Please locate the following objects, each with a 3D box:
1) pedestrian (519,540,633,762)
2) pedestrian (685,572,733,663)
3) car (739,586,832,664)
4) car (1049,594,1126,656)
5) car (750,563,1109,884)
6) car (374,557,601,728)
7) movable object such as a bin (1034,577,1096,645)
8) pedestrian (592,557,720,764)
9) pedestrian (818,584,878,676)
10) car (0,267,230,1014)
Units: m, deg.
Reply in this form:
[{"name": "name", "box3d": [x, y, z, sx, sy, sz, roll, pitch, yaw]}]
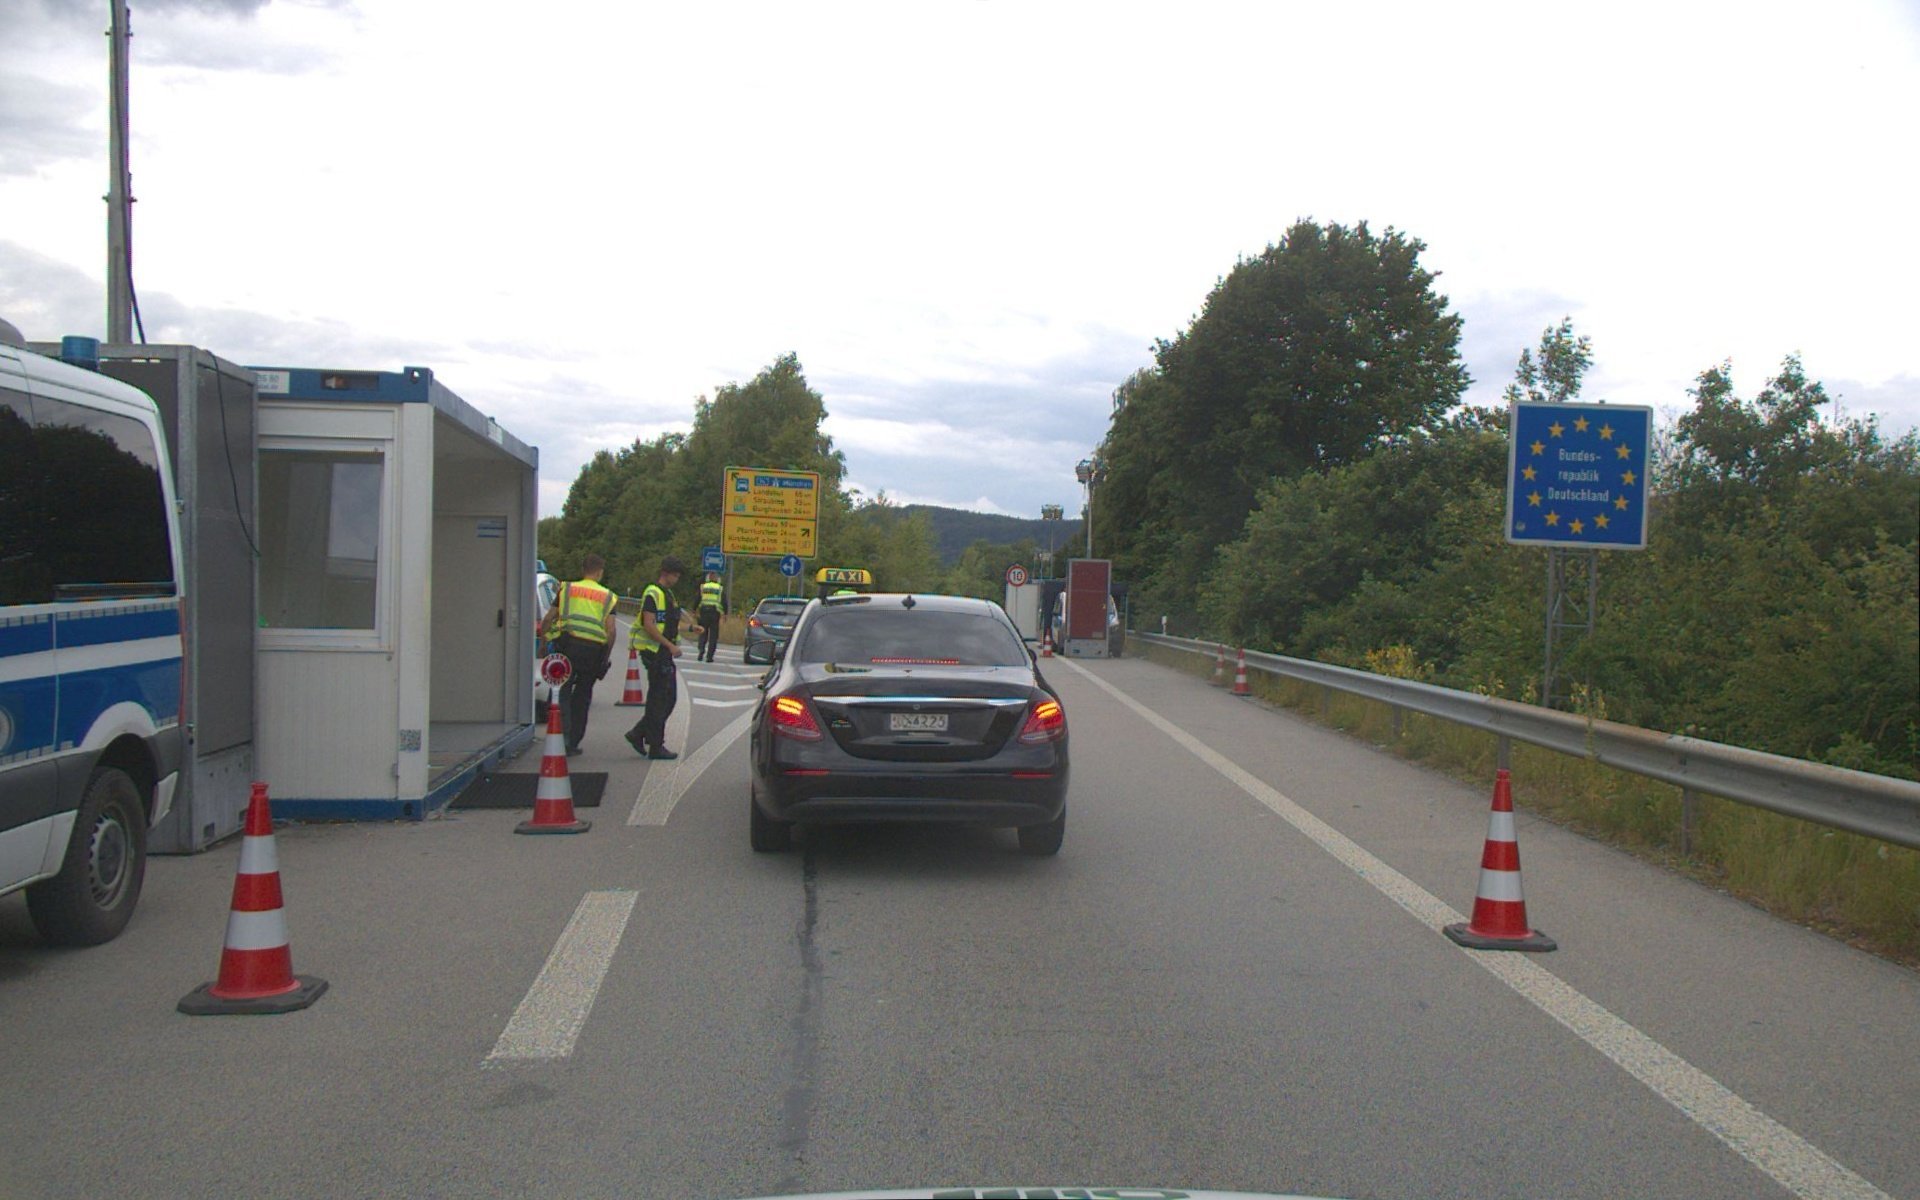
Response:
[{"name": "pedestrian", "box3d": [-3.319, 0.428, 14.360, 0.796, 1.862, 0.809, 1, 0, -2]}, {"name": "pedestrian", "box3d": [-5.061, 0.351, 33.383, 0.891, 1.800, 0.912, 1, 0, -7]}, {"name": "car", "box3d": [-3.651, 0.494, 35.156, 1.819, 1.524, 4.253, 1, 0, -5]}, {"name": "car", "box3d": [3.826, 0.705, 50.411, 1.877, 1.707, 5.083, 3, 0, 0]}, {"name": "car", "box3d": [-0.337, 0.628, 10.629, 1.819, 1.623, 4.371, 1, 0, -5]}, {"name": "car", "box3d": [-5.415, 0.442, 19.444, 1.833, 1.774, 4.003, 1, 0, -6]}, {"name": "movable object such as a bin", "box3d": [3.716, 0.372, 59.253, 1.952, 2.320, 4.168, 1, 0, 1]}, {"name": "pedestrian", "box3d": [-2.656, 0.509, 14.476, 0.799, 1.748, 0.762, 1, 0, 24]}, {"name": "pedestrian", "box3d": [-2.152, 0.560, 31.663, 0.896, 1.727, 0.907, 1, 0, -23]}, {"name": "car", "box3d": [-4.163, 0.130, 4.939, 1.989, 2.506, 5.274, 1, 0, -5]}]
